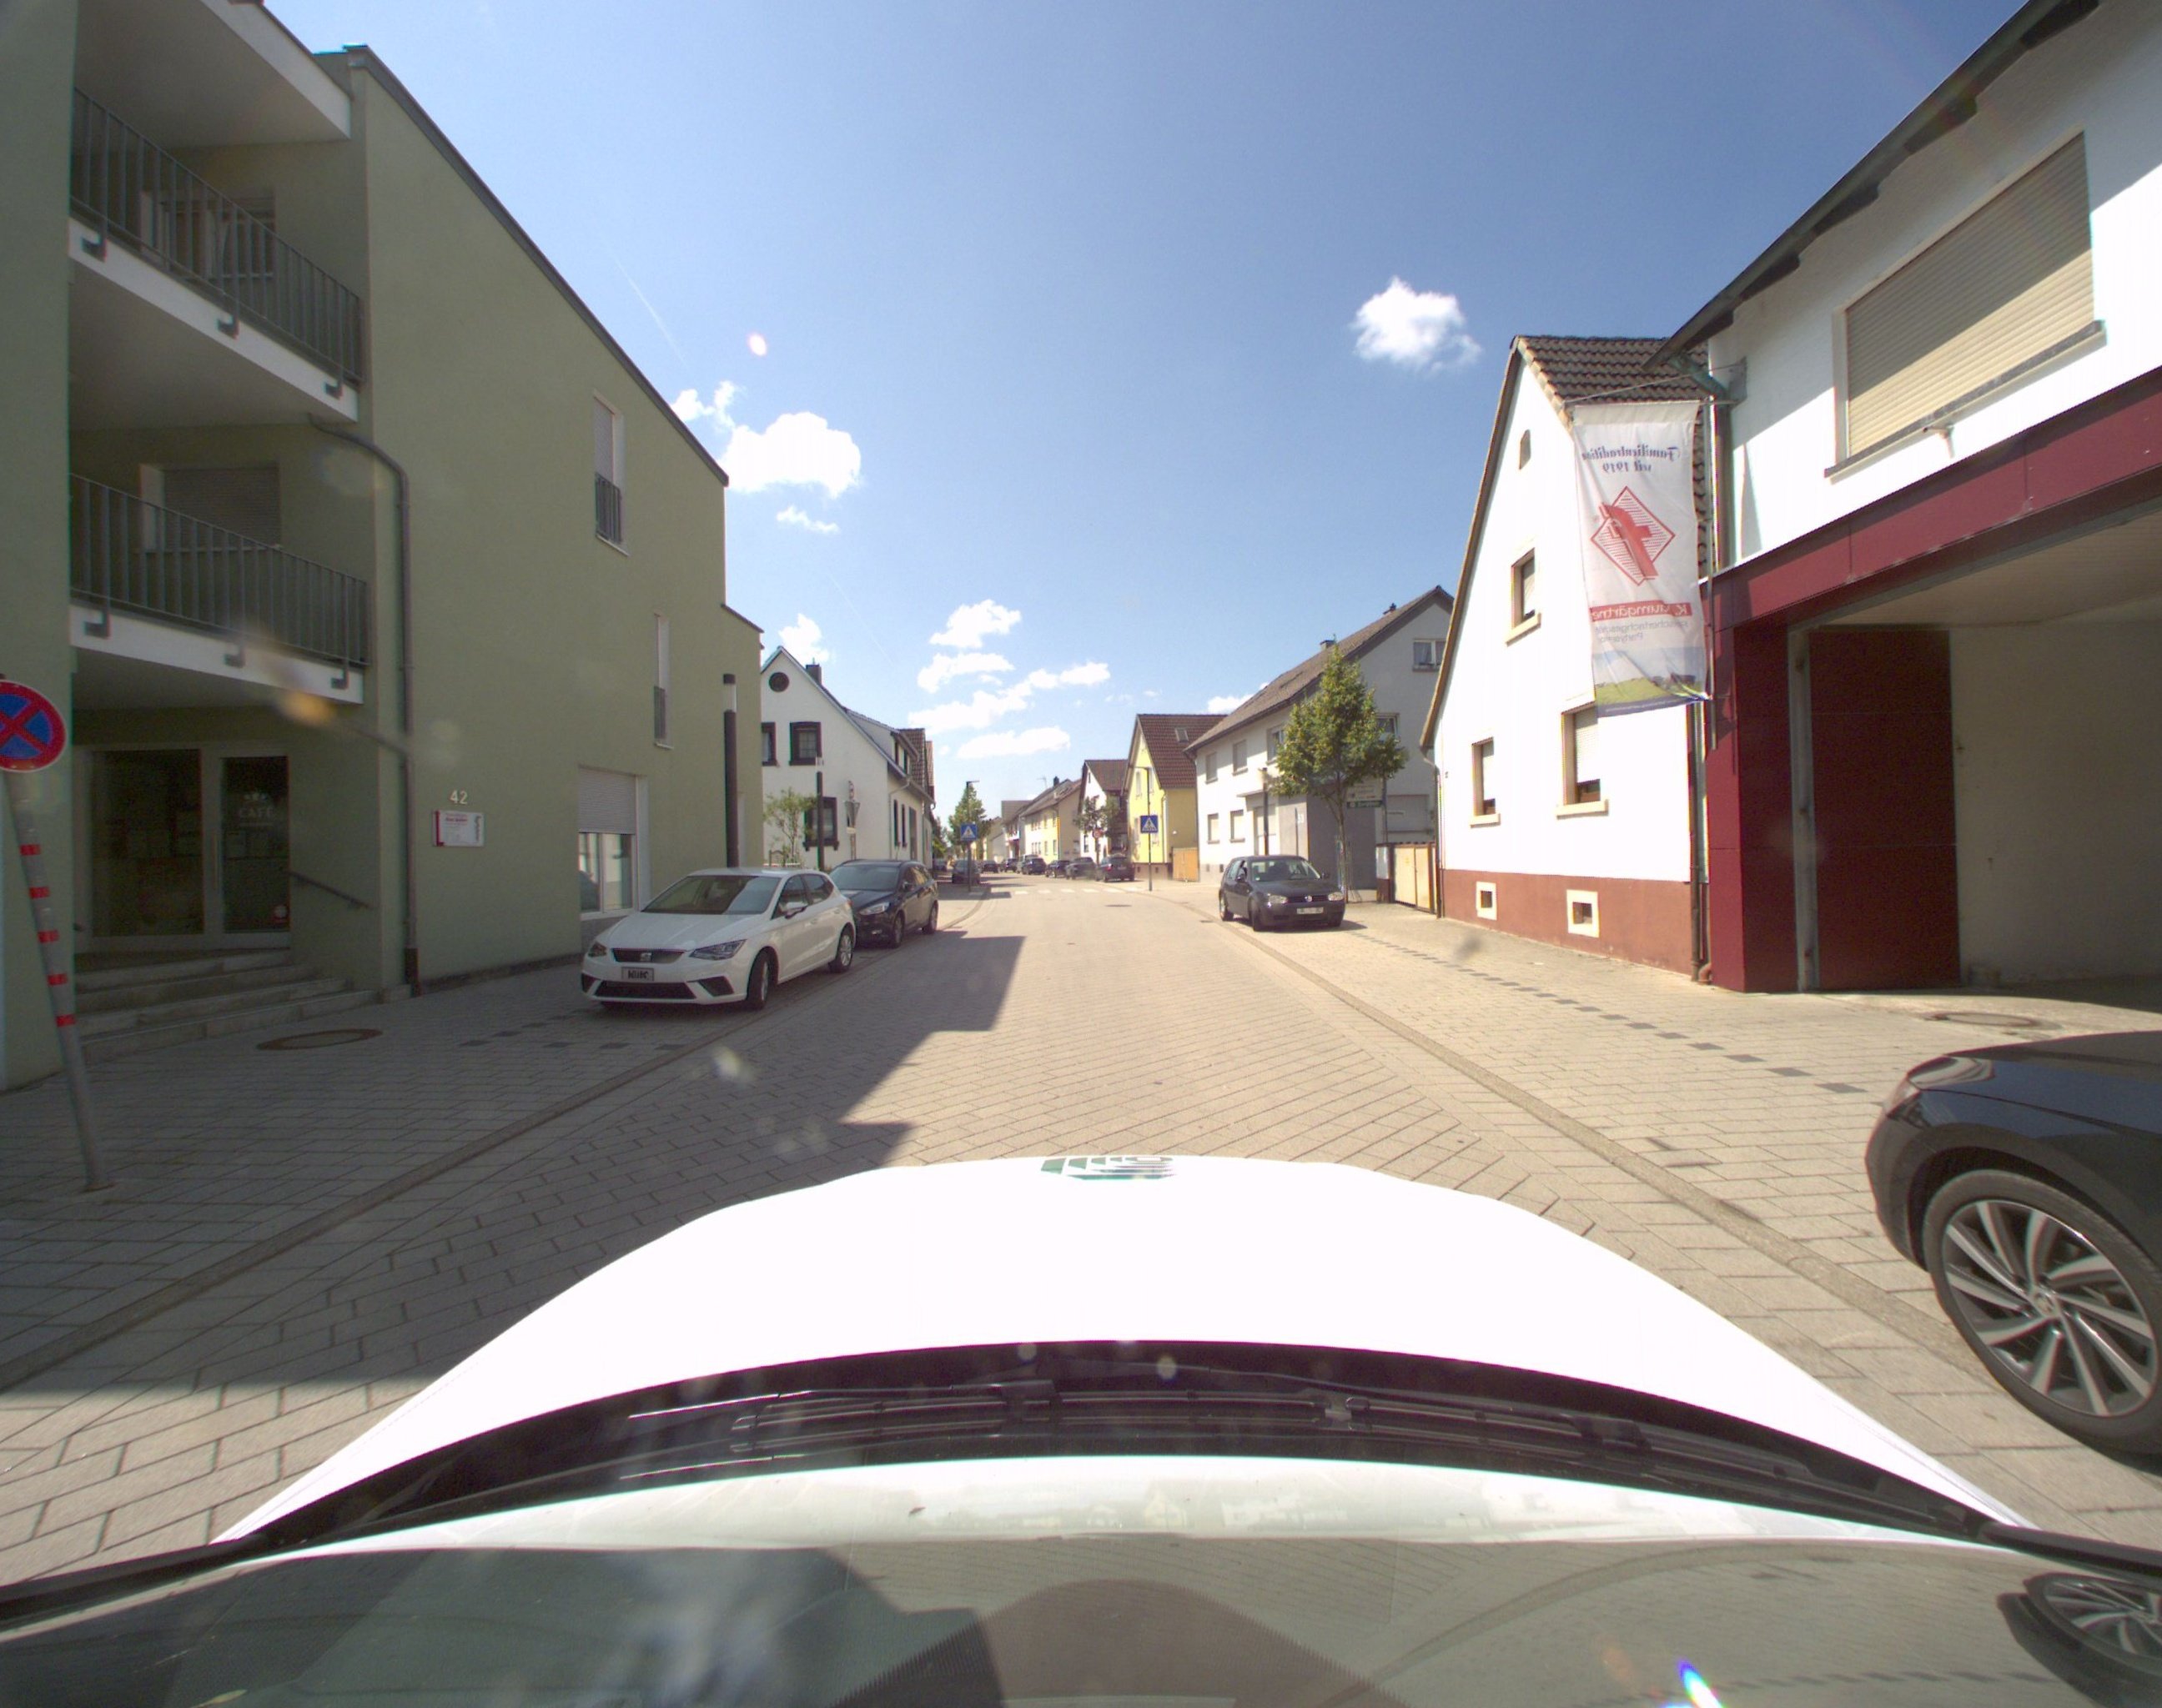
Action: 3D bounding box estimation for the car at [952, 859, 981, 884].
[{"bbox_3d":[-7.251,1.086,51.890,1.745,1.530,3.990,0,0,-7],"label":"car"}]

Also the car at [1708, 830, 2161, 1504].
[{"bbox_3d":[3.248,0.683,0.839,1.850,1.459,4.591,-4,0,4],"label":"car"}]

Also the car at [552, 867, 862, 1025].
[{"bbox_3d":[-4.077,0.906,9.675,1.751,1.411,3.880,0,0,2],"label":"car"}]

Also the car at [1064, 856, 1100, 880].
[{"bbox_3d":[0.022,0.962,57.122,1.846,1.562,3.681,-2,0,-10],"label":"car"}]

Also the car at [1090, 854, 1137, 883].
[{"bbox_3d":[1.861,0.843,47.599,1.829,1.471,4.261,-4,0,-10],"label":"car"}]

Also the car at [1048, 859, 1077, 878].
[{"bbox_3d":[-1.491,1.111,64.594,1.711,1.387,3.693,-2,0,-10],"label":"car"}]

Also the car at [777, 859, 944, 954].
[{"bbox_3d":[-3.894,0.852,15.189,1.806,1.490,4.280,0,0,2],"label":"car"}]

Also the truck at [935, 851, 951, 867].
[{"bbox_3d":[-34.333,1.256,202.415,3.568,3.953,8.544,-2,0,-13],"label":"truck"}]

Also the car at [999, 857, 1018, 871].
[{"bbox_3d":[-8.269,1.142,92.251,1.754,1.493,3.986,-2,0,-10],"label":"car"}]

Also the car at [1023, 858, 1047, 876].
[{"bbox_3d":[-4.421,1.213,77.960,1.877,1.591,3.986,-2,0,-10],"label":"car"}]

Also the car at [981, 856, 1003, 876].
[{"bbox_3d":[-9.510,1.256,87.002,1.994,2.058,4.358,-2,0,-10],"label":"car"}]

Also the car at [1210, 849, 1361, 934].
[{"bbox_3d":[4.028,0.676,16.756,1.756,1.438,4.113,-3,0,-4],"label":"car"}]

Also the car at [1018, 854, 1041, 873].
[{"bbox_3d":[-5.287,0.963,83.586,1.907,1.871,3.986,-2,0,-10],"label":"car"}]

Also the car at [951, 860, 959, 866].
[{"bbox_3d":[-31.451,2.290,203.103,1.689,1.452,3.777,-2,0,-12],"label":"car"}]
